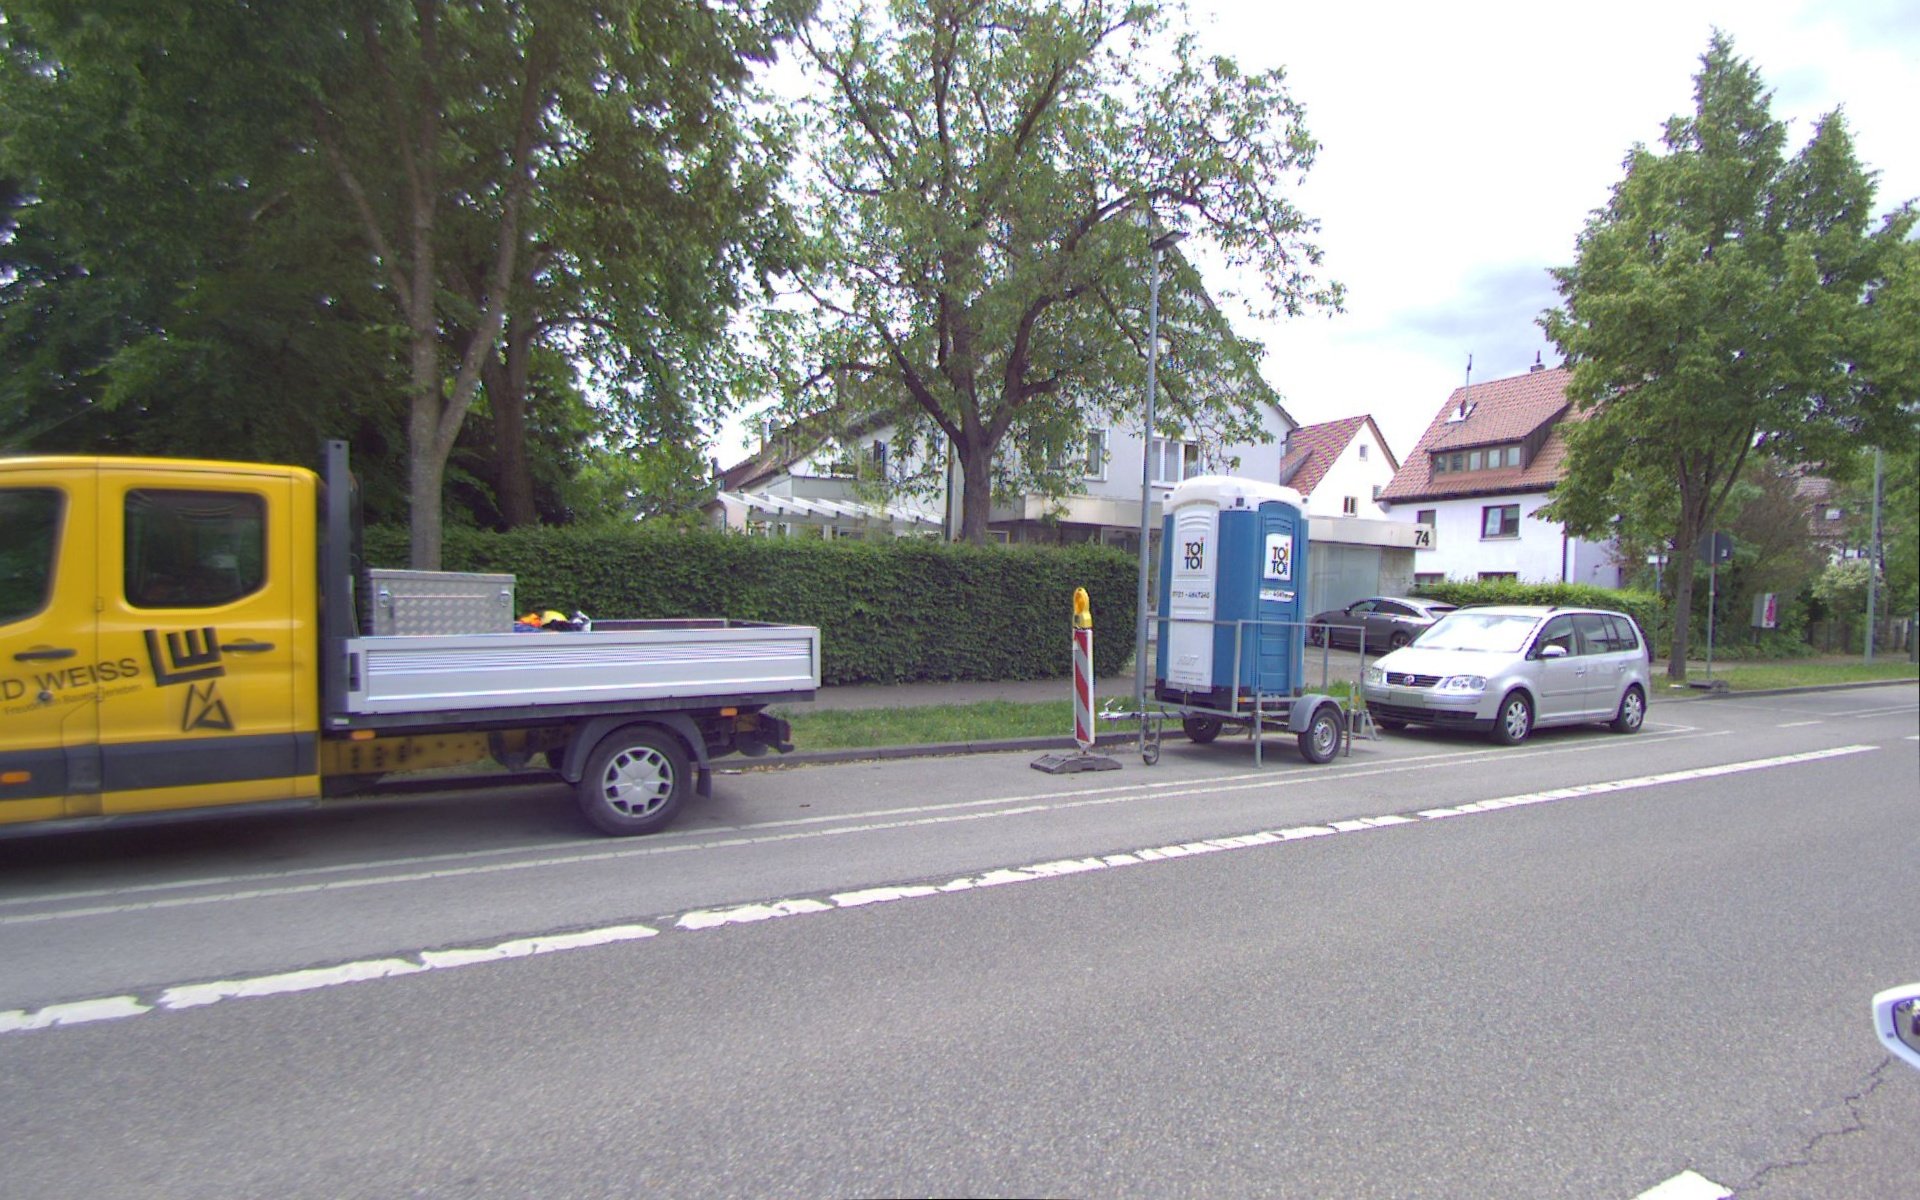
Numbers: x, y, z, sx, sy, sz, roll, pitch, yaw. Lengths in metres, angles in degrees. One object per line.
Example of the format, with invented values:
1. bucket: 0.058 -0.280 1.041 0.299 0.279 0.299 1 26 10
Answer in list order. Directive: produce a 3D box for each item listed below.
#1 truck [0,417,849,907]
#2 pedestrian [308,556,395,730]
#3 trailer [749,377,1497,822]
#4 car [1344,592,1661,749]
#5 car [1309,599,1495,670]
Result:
1. truck: -4.096 0.308 6.273 6.381 2.317 2.286 1 0 -28
2. pedestrian: -6.439 0.439 10.659 0.712 1.765 0.638 1 1 -27
3. trailer: 1.740 0.054 9.454 6.921 3.002 2.363 1 0 -28
4. car: 6.996 0.832 12.848 4.178 1.706 1.680 2 0 -31
5. car: 10.722 0.781 24.695 1.775 1.452 4.069 1 2 -23
